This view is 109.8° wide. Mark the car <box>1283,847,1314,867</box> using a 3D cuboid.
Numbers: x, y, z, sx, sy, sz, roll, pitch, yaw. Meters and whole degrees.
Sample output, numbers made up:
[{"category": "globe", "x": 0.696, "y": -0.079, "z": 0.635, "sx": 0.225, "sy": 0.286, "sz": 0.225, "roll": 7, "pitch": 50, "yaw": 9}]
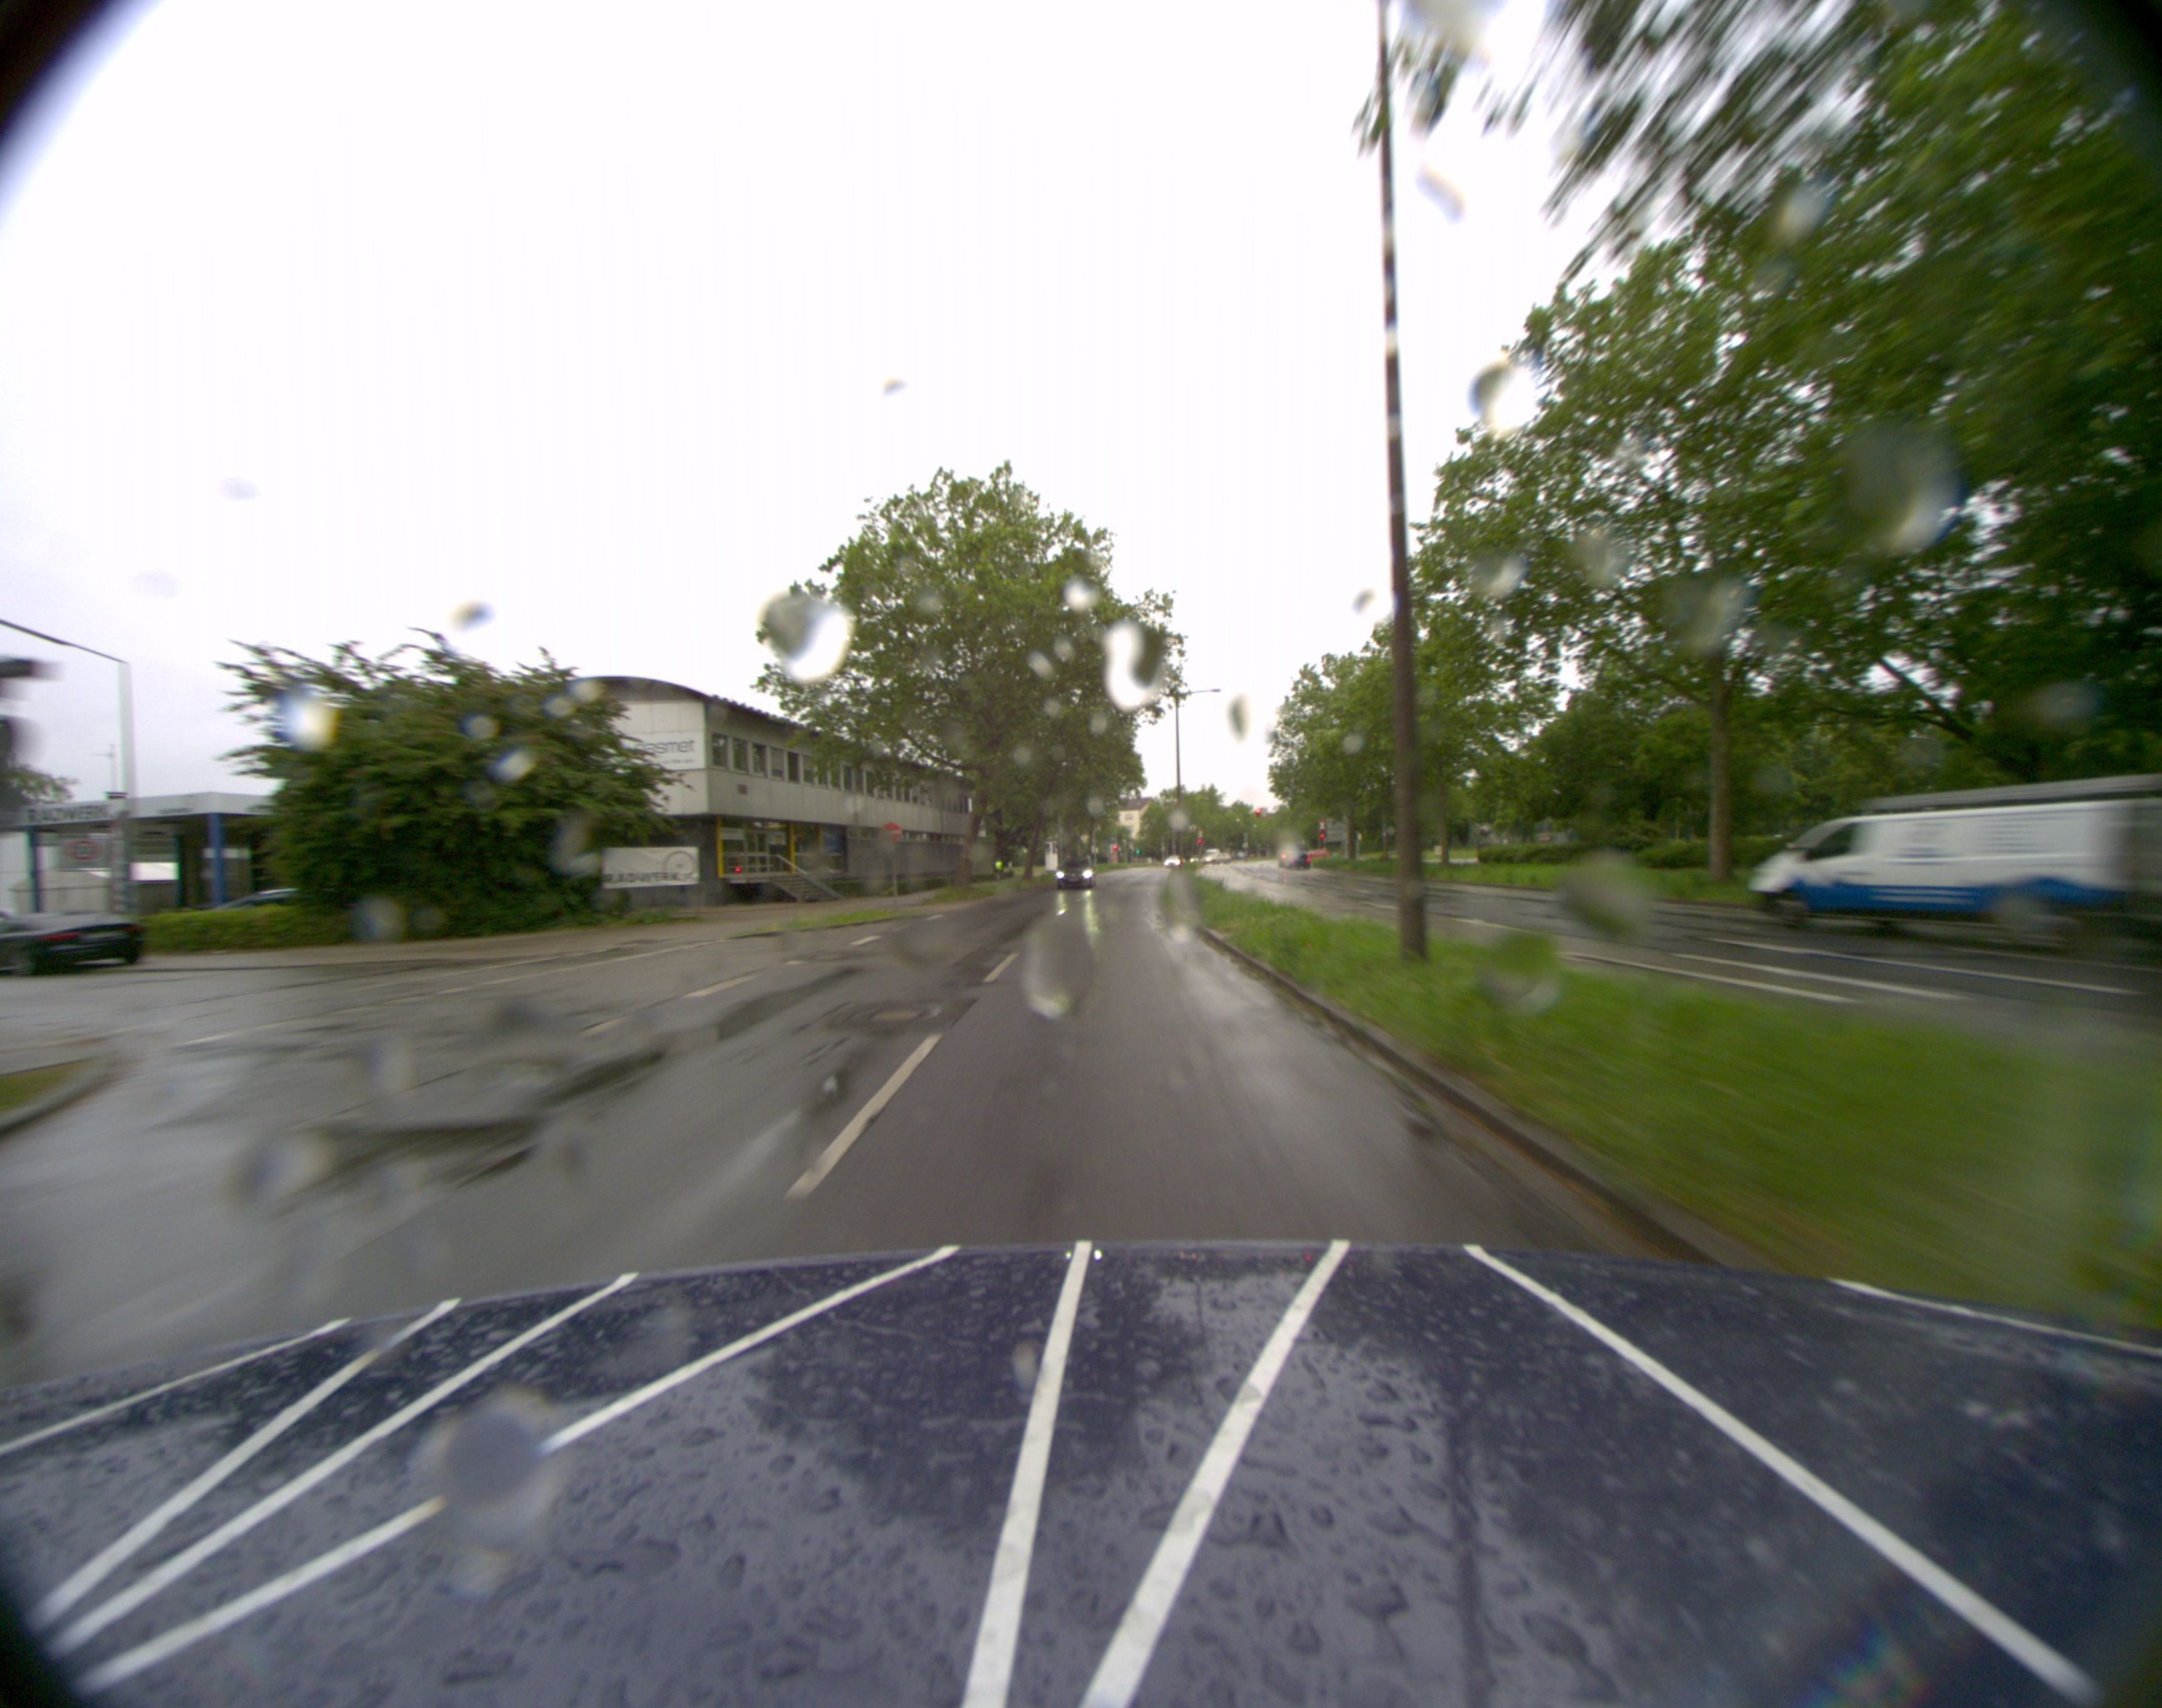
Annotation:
[{"category": "car", "x": 18.748, "y": 0.241, "z": 65.593, "sx": 1.997, "sy": 1.622, "sz": 4.334, "roll": -2, "pitch": 0, "yaw": 9}]

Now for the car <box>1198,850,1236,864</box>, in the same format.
[{"category": "car", "x": 17.583, "y": 0.412, "z": 98.166, "sx": 4.508, "sy": 1.620, "sz": 1.996, "roll": -3, "pitch": 0, "yaw": -23}]

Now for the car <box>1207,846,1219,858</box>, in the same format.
[{"category": "car", "x": 24.994, "y": -0.436, "z": 143.863, "sx": 1.997, "sy": 2.095, "sz": 5.147, "roll": -2, "pitch": 0, "yaw": 11}]

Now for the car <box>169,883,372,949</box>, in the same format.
[{"category": "car", "x": -26.639, "y": 1.950, "z": 25.143, "sx": 1.888, "sy": 1.522, "sz": 4.183, "roll": -1, "pitch": 4, "yaw": 32}]

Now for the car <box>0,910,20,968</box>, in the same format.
[{"category": "car", "x": -31.068, "y": 2.403, "z": 20.262, "sx": 4.297, "sy": 1.522, "sz": 1.895, "roll": -2, "pitch": 3, "yaw": 18}]

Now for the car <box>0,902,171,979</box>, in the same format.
[{"category": "car", "x": -24.993, "y": 2.108, "z": 18.575, "sx": 4.297, "sy": 1.499, "sz": 1.895, "roll": -3, "pitch": 4, "yaw": 18}]

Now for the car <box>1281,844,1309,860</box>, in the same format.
[{"category": "car", "x": 20.550, "y": -0.200, "z": 73.182, "sx": 1.997, "sy": 1.366, "sz": 4.334, "roll": -2, "pitch": 0, "yaw": 9}]

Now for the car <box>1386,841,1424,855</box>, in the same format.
[{"category": "car", "x": 43.534, "y": -0.802, "z": 102.066, "sx": 4.511, "sy": 1.620, "sz": 2.003, "roll": -2, "pitch": 0, "yaw": 26}]

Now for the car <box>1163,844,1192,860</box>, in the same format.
[{"category": "car", "x": 11.127, "y": -0.241, "z": 87.037, "sx": 1.995, "sy": 1.620, "sz": 4.529, "roll": -2, "pitch": 0, "yaw": 24}]

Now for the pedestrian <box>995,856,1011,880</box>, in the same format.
[{"category": "pedestrian", "x": -5.562, "y": 0.971, "z": 54.137, "sx": 0.832, "sy": 1.685, "sz": 0.900, "roll": -2, "pitch": 1, "yaw": 12}]

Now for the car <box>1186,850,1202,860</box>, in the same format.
[{"category": "car", "x": 19.283, "y": 0.124, "z": 129.605, "sx": 1.996, "sy": 1.620, "sz": 4.527, "roll": -2, "pitch": 0, "yaw": 18}]

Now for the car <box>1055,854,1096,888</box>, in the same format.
[{"category": "car", "x": -0.323, "y": 0.855, "z": 40.752, "sx": 1.999, "sy": 1.585, "sz": 5.588, "roll": -3, "pitch": 0, "yaw": -1}]

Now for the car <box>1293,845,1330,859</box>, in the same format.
[{"category": "car", "x": 31.598, "y": -0.257, "z": 104.063, "sx": 4.511, "sy": 1.620, "sz": 2.003, "roll": -2, "pitch": 0, "yaw": 26}]

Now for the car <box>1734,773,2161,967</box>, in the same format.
[{"category": "car", "x": 13.227, "y": 0.153, "z": 11.443, "sx": 2.035, "sy": 2.213, "sz": 5.433, "roll": -2, "pitch": 0, "yaw": -1}]
